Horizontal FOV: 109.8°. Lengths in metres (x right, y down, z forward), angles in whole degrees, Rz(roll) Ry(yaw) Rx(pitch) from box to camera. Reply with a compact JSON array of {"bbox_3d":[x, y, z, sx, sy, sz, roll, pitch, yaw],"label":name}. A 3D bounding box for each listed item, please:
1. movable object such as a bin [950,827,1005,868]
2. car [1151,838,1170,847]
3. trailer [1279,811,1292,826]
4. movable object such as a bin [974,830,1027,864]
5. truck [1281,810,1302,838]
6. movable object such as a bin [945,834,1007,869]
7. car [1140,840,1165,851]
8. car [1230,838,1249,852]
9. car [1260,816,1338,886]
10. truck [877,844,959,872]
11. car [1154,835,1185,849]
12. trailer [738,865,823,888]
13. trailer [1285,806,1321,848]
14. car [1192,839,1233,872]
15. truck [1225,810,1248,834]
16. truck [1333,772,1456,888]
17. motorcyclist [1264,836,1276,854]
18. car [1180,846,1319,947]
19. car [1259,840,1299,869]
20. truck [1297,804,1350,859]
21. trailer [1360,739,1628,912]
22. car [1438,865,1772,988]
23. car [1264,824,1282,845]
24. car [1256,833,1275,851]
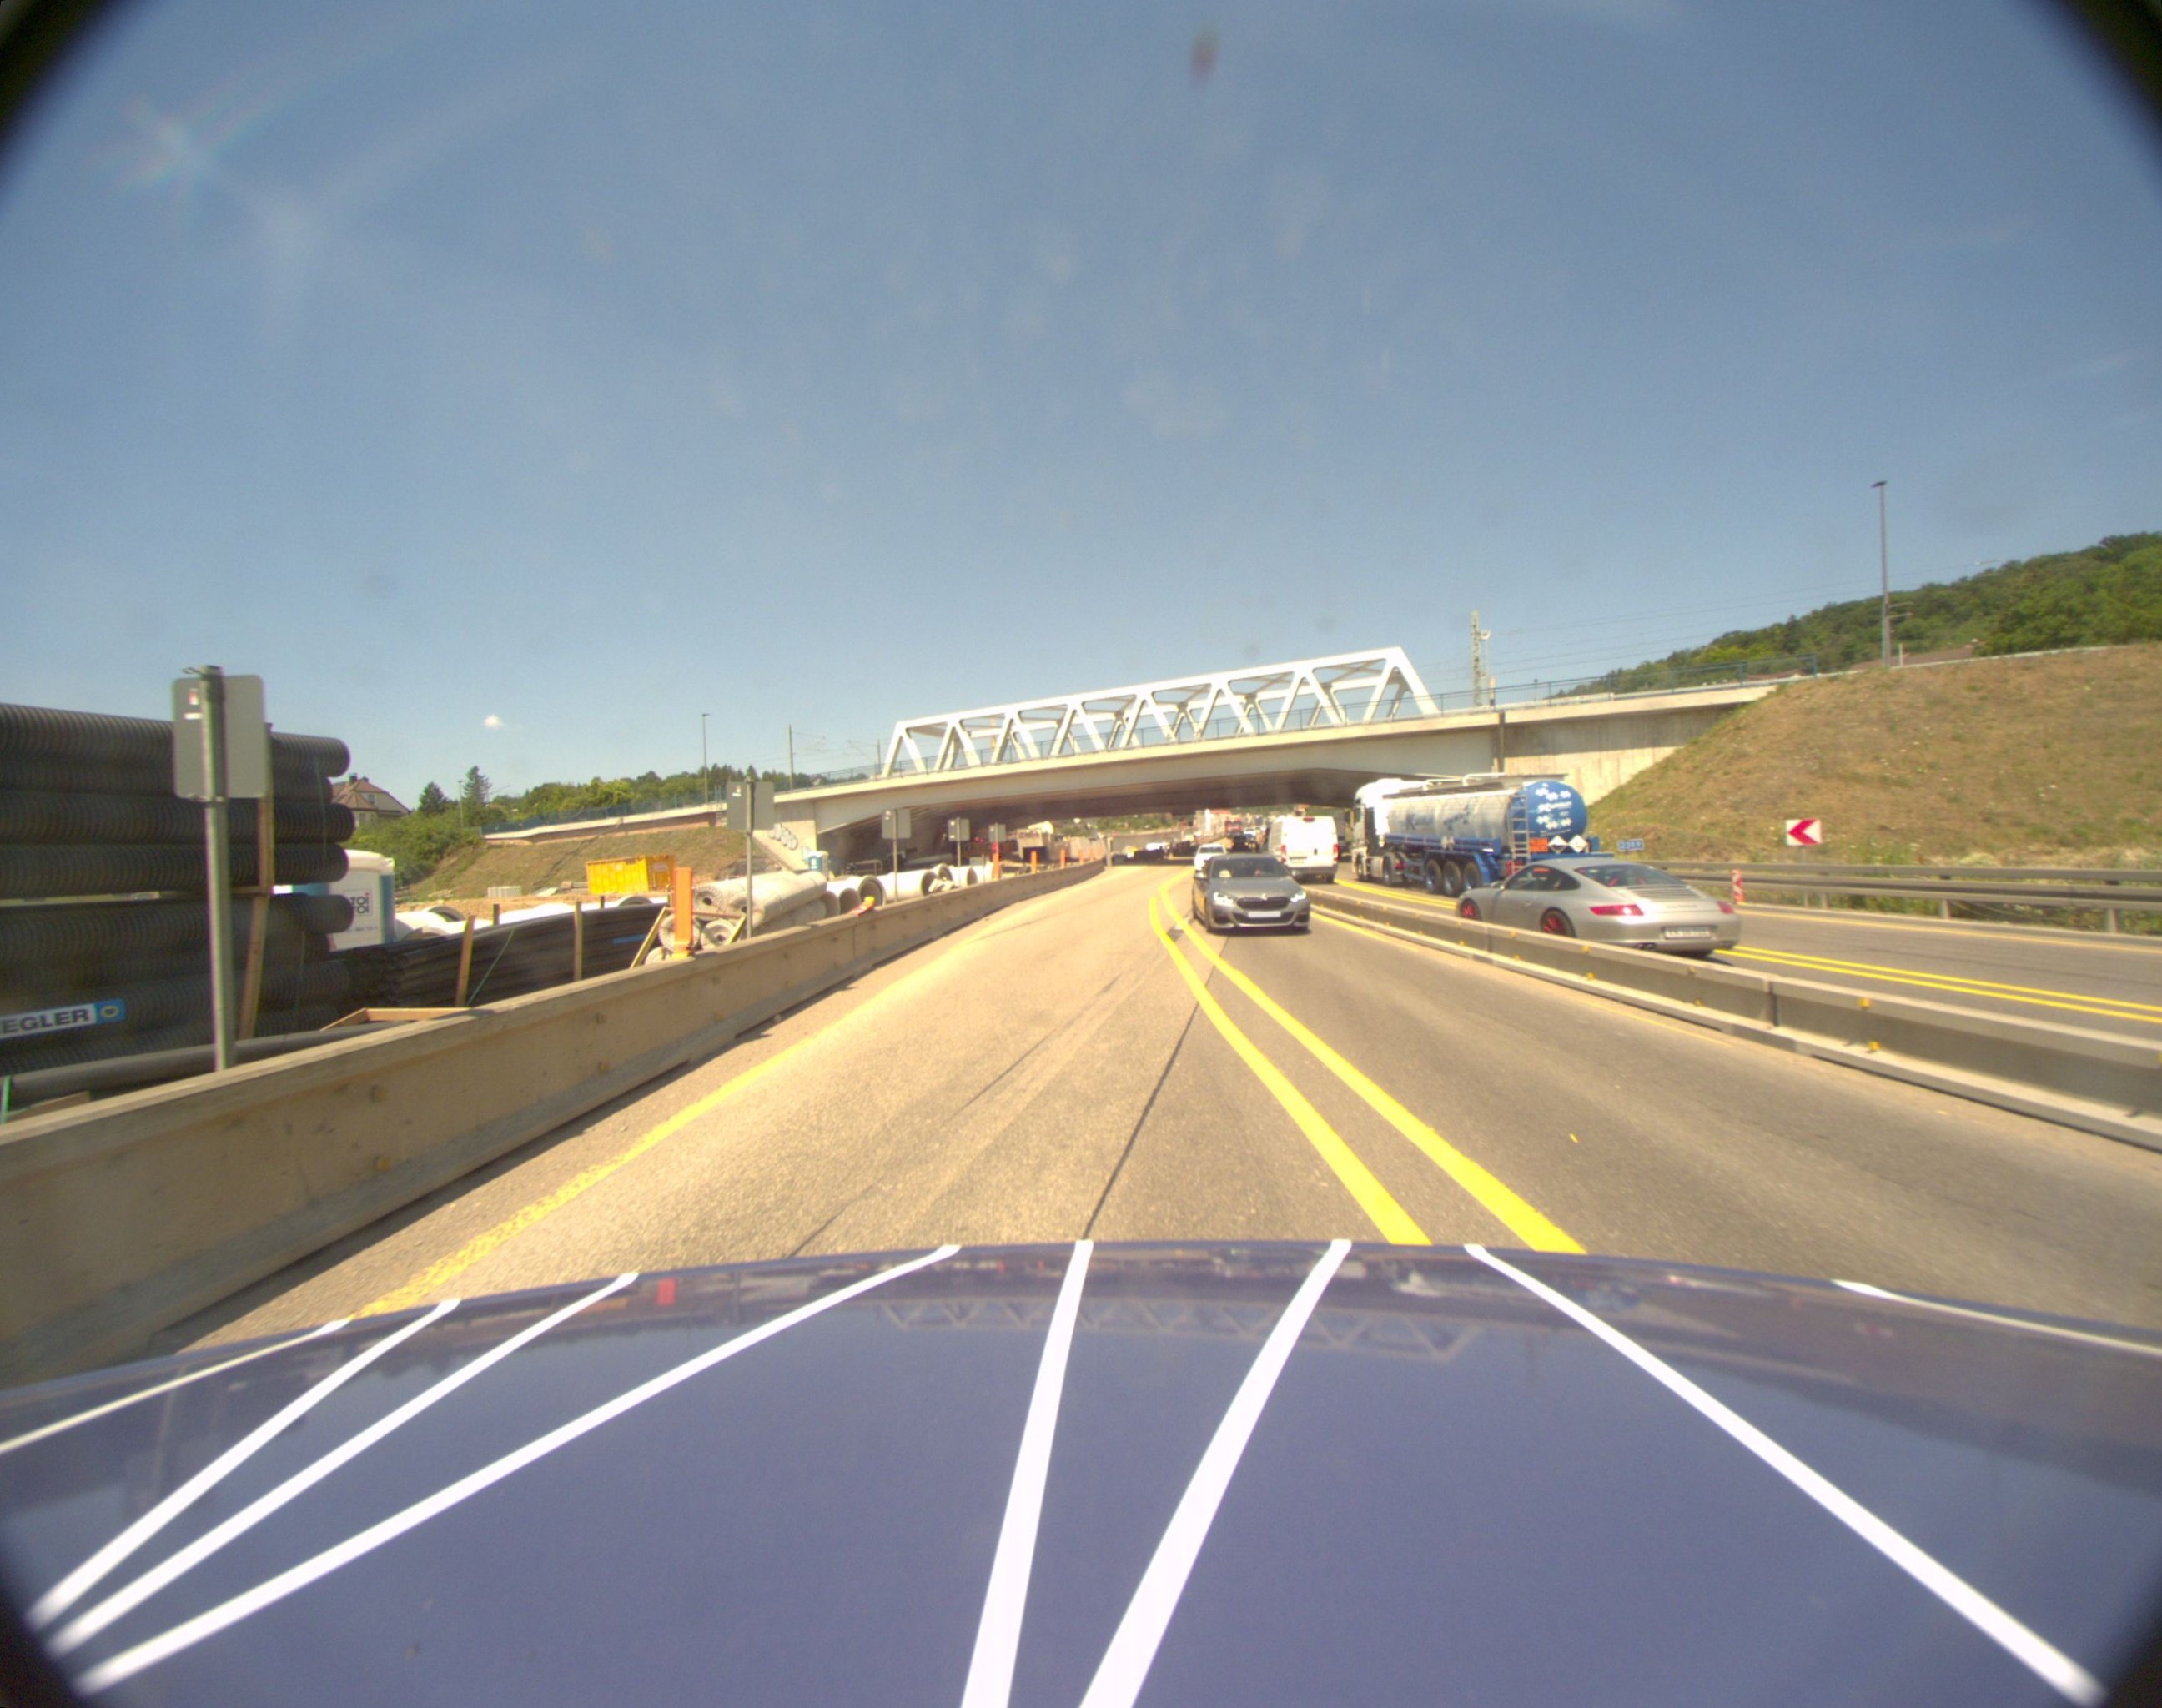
[{"bbox_3d":[-9.663,-0.587,71.050,3.884,3.523,2.906,-2,3,26],"label":"movable object such as a bin"},{"bbox_3d":[16.573,-2.405,158.480,3.867,1.677,1.693,-4,2,10],"label":"car"},{"bbox_3d":[56.882,-9.924,211.145,2.658,3.796,11.830,-1,3,19],"label":"trailer"},{"bbox_3d":[-8.719,-0.802,82.552,4.559,3.269,2.993,-3,3,19],"label":"movable object such as a bin"},{"bbox_3d":[35.467,-5.222,128.518,2.773,4.290,13.495,-1,3,13],"label":"truck"},{"bbox_3d":[-10.409,-0.241,75.503,5.246,3.040,2.498,-3,3,19],"label":"movable object such as a bin"},{"bbox_3d":[14.721,-1.751,155.649,4.796,1.759,1.721,-3,2,15],"label":"car"},{"bbox_3d":[17.748,-1.036,85.188,1.799,1.543,4.002,-2,1,9],"label":"car"},{"bbox_3d":[8.767,-0.186,31.113,2.075,2.489,6.486,-2,1,8],"label":"car"},{"bbox_3d":[-14.405,0.336,67.122,6.529,2.061,2.668,-3,2,18],"label":"truck"},{"bbox_3d":[18.839,-2.574,161.761,6.302,2.566,2.055,-5,1,1],"label":"car"},{"bbox_3d":[-19.276,1.421,48.776,4.720,1.213,2.057,-2,3,15],"label":"trailer"},{"bbox_3d":[24.105,-2.914,83.043,2.881,4.017,14.368,-3,1,14],"label":"trailer"},{"bbox_3d":[7.148,0.061,41.118,1.836,1.465,4.391,-1,3,14],"label":"car"},{"bbox_3d":[27.871,-5.775,135.827,3.459,4.025,10.216,-1,3,15],"label":"truck"},{"bbox_3d":[11.410,-0.867,28.154,2.540,3.800,4.950,-3,1,2],"label":"truck"},{"bbox_3d":[15.122,-0.733,60.818,0.812,1.409,0.743,-2,4,12],"label":"motorcyclist"},{"bbox_3d":[3.133,0.699,15.016,1.838,1.588,4.388,-2,1,2],"label":"car"},{"bbox_3d":[10.983,-0.006,42.339,1.848,1.456,4.526,-2,1,11],"label":"car"},{"bbox_3d":[17.314,-1.588,54.723,2.821,3.555,8.503,-2,1,12],"label":"truck"},{"bbox_3d":[11.153,-0.734,22.174,2.531,3.768,10.244,-3,1,2],"label":"trailer"},{"bbox_3d":[6.816,0.830,10.574,1.681,1.257,4.336,-2,0,1],"label":"car"},{"bbox_3d":[22.785,-2.386,90.056,1.983,2.317,6.062,-1,2,15],"label":"car"},{"bbox_3d":[18.391,-1.226,75.538,1.749,1.661,4.082,-1,1,14],"label":"car"}]
